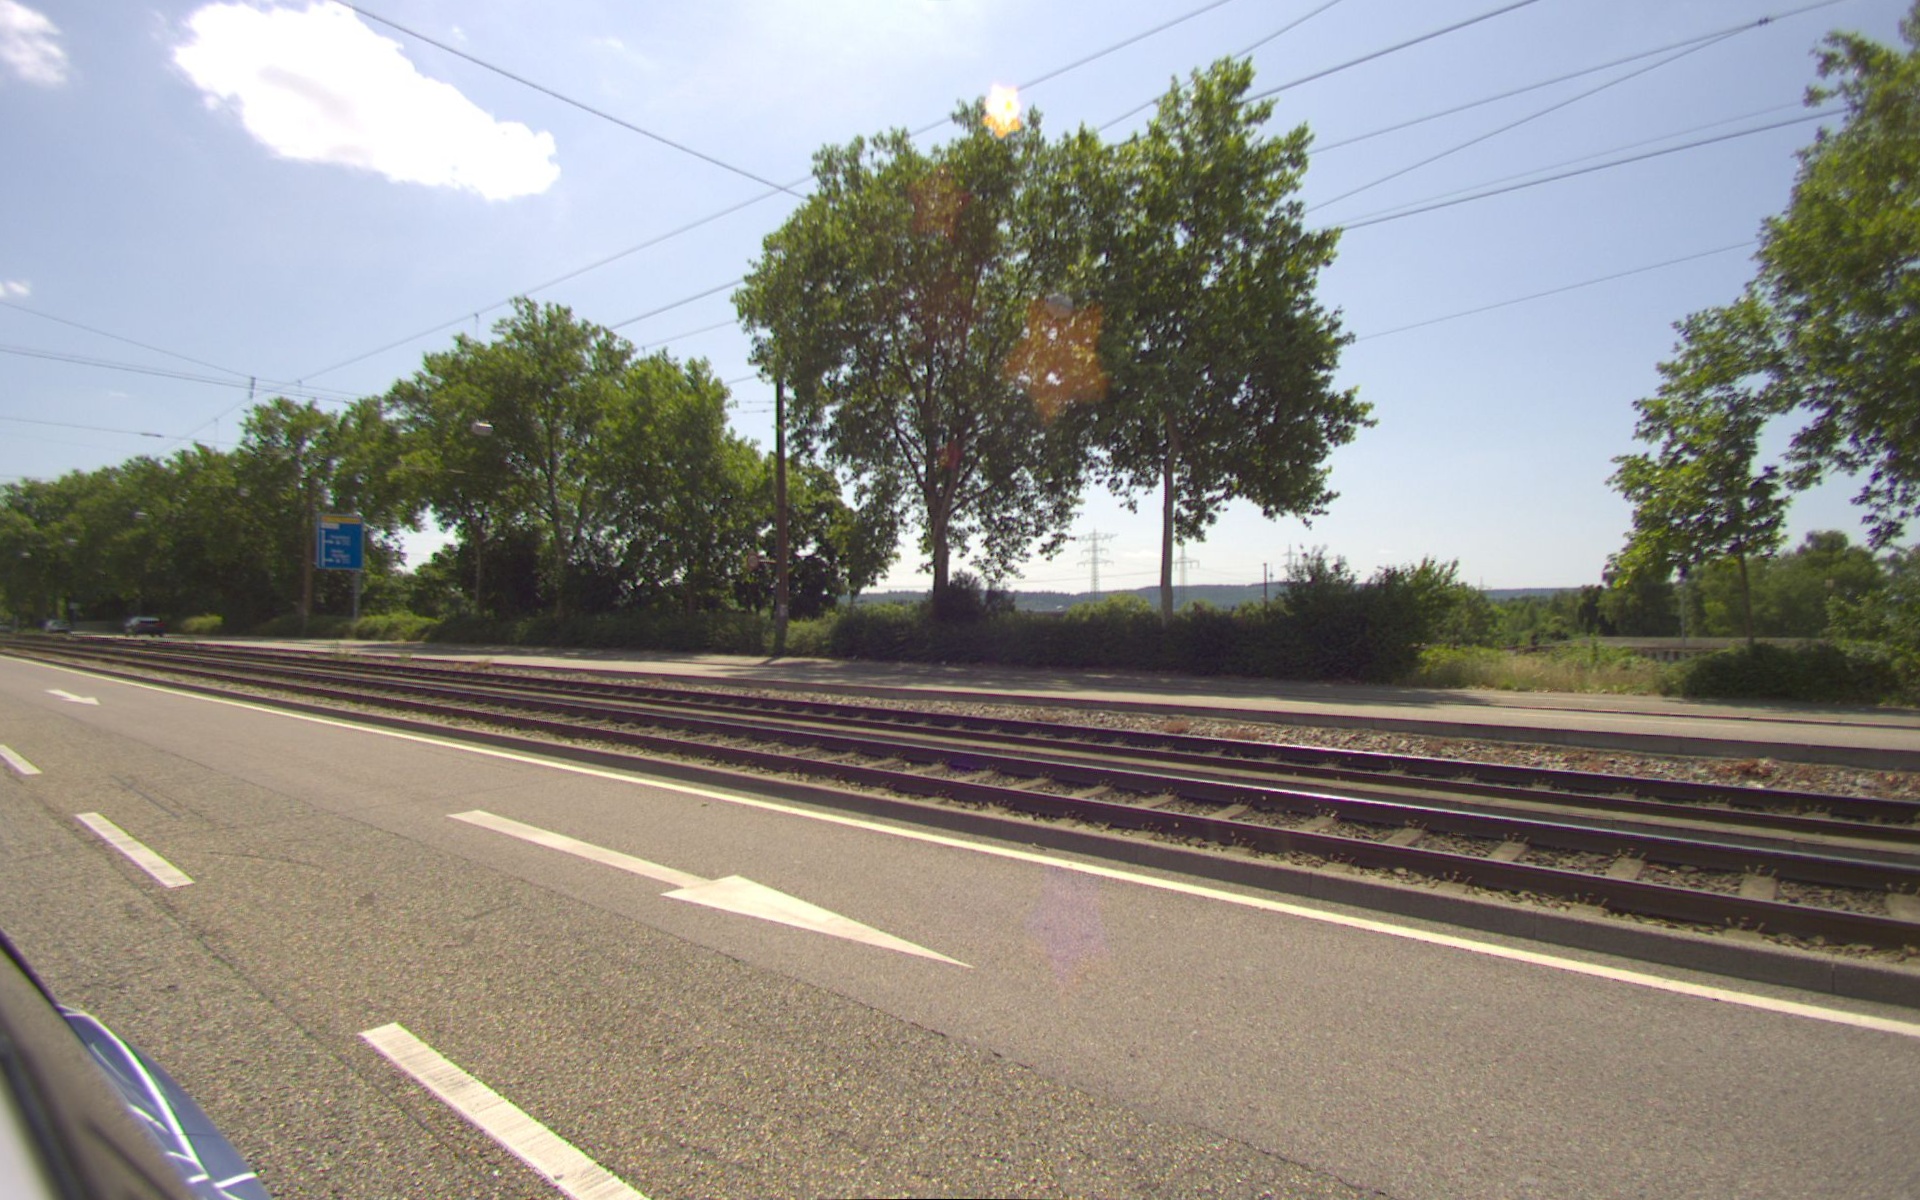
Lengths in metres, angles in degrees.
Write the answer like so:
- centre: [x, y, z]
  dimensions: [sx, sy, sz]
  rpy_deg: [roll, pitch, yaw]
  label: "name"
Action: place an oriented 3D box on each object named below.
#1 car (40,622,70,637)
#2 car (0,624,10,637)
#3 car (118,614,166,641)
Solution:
- centre: [-90.085, 2.969, 100.723]
  dimensions: [3.883, 1.426, 1.802]
  rpy_deg: [-1, -3, 42]
  label: "car"
- centre: [-120.040, 3.822, 126.259]
  dimensions: [4.055, 1.596, 1.668]
  rpy_deg: [-1, -4, 40]
  label: "car"
- centre: [-60.927, 2.011, 75.344]
  dimensions: [4.407, 1.932, 1.973]
  rpy_deg: [-1, 0, 40]
  label: "car"
